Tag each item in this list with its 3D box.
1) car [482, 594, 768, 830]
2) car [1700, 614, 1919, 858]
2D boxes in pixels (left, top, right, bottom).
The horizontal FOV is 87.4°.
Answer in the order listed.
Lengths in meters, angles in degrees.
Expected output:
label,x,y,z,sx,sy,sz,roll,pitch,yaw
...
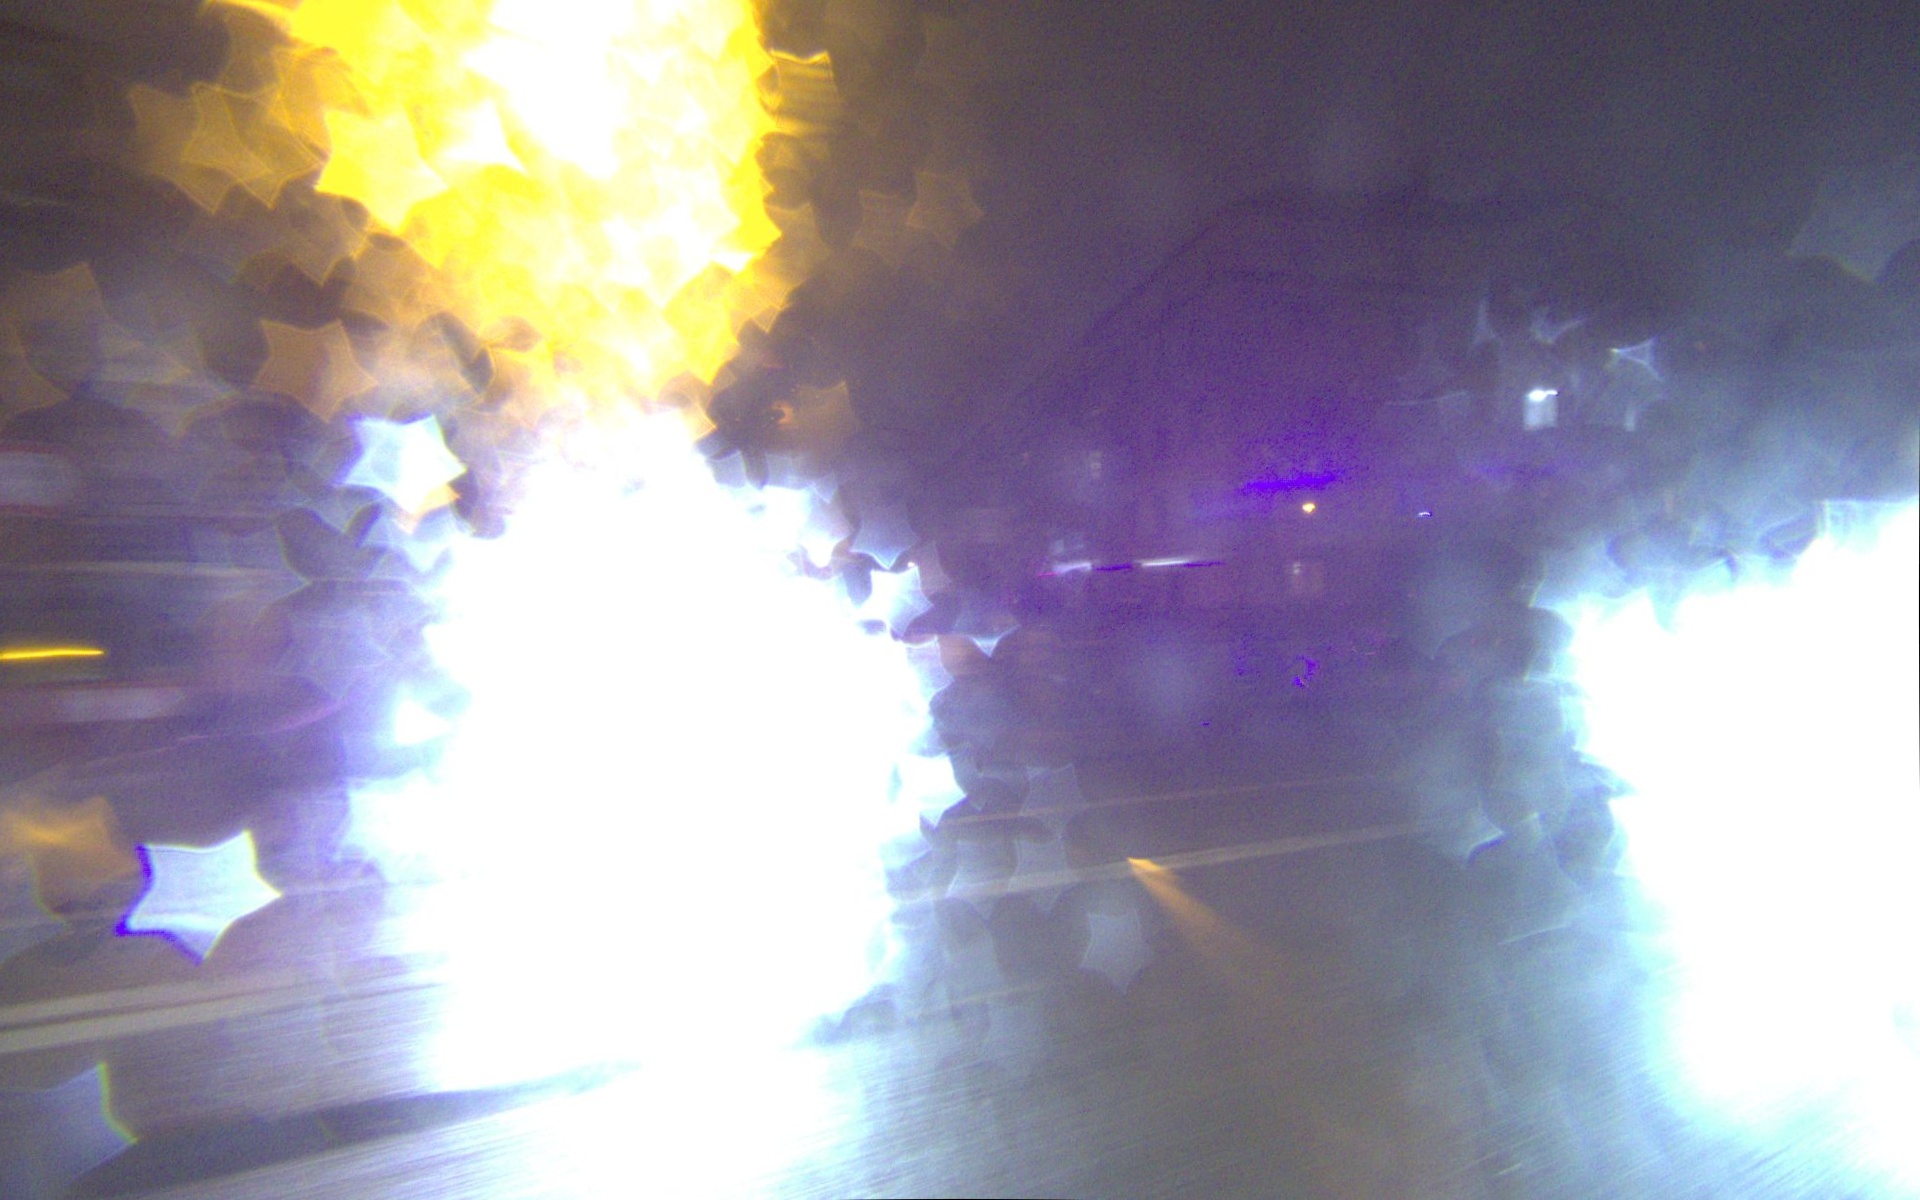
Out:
label,x,y,z,sx,sy,sz,roll,pitch,yaw
car,-3.100,0.881,9.604,1.968,1.640,4.688,-1,-2,-17
car,7.694,0.884,7.638,4.527,1.481,1.786,1,0,-32
